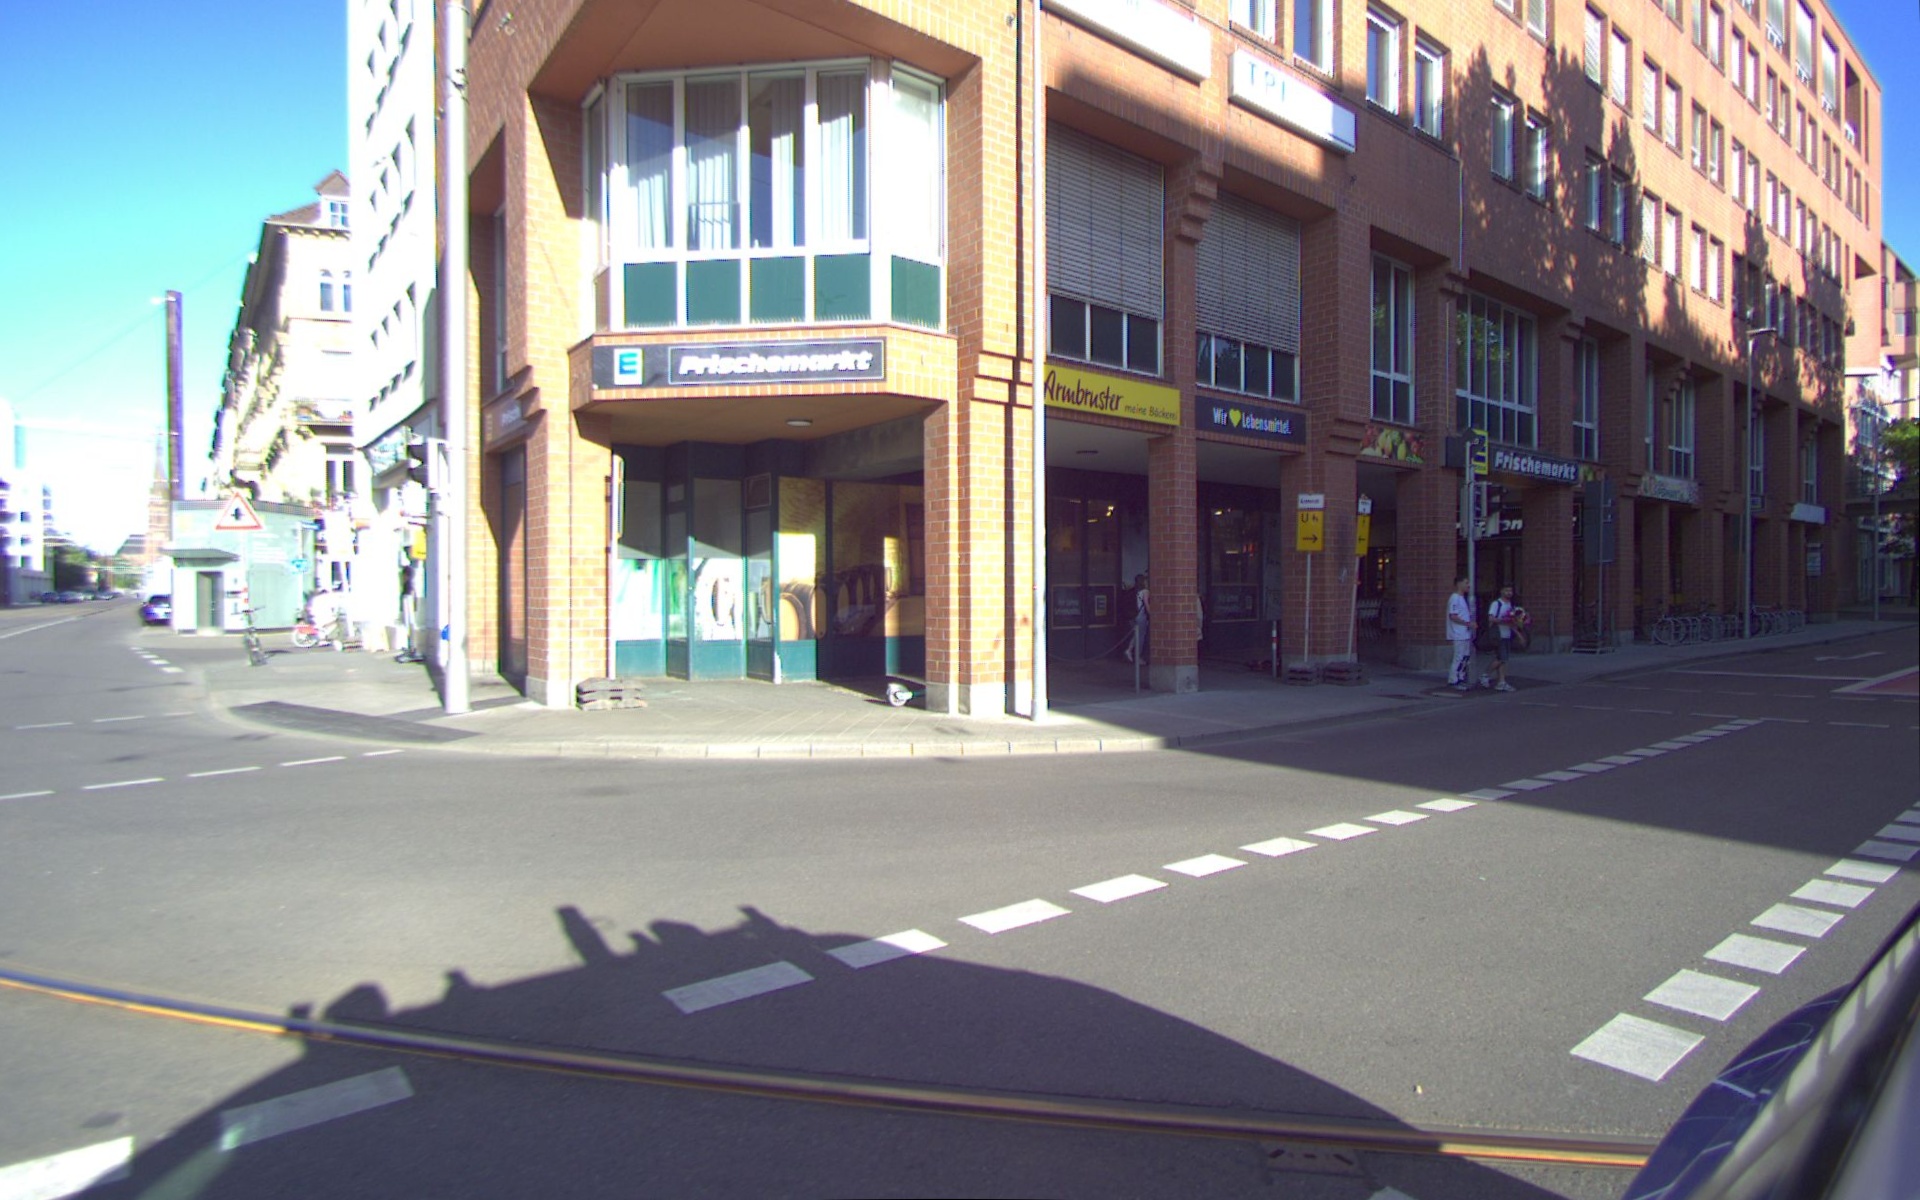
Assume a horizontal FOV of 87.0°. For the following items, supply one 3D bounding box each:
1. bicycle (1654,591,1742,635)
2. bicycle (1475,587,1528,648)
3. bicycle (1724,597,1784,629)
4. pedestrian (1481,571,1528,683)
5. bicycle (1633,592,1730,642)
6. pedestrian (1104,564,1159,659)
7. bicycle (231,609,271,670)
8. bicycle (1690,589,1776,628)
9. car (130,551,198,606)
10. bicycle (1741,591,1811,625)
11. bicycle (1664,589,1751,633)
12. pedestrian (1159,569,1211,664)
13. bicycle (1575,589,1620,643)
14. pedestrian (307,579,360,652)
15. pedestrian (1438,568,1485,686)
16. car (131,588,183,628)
[{"bbox_3d":[20.206,0.327,27.754,0.466,1.133,1.896,-1,2,-38],"label":"bicycle"},{"bbox_3d":[11.744,0.360,21.934,1.679,1.271,0.340,-1,1,-37],"label":"bicycle"},{"bbox_3d":[24.063,0.388,30.679,0.417,0.851,1.338,-1,4,-36],"label":"bicycle"},{"bbox_3d":[8.686,0.418,16.162,0.624,1.746,0.630,0,1,27],"label":"pedestrian"},{"bbox_3d":[17.838,0.400,25.052,0.466,1.133,1.896,-1,2,-38],"label":"bicycle"},{"bbox_3d":[3.129,0.198,18.451,0.783,1.683,0.601,-1,1,-39],"label":"pedestrian"},{"bbox_3d":[-12.889,0.695,18.382,0.451,1.003,1.864,-4,3,-38],"label":"bicycle"},{"bbox_3d":[22.995,0.235,30.146,0.562,1.069,1.940,-1,3,-35],"label":"bicycle"},{"bbox_3d":[-46.850,-1.298,59.506,5.346,3.059,2.245,1,3,43],"label":"car"},{"bbox_3d":[26.125,0.243,32.427,0.544,0.966,1.617,-1,4,-36],"label":"bicycle"},{"bbox_3d":[20.853,0.290,28.264,0.540,1.133,1.896,-1,2,-38],"label":"bicycle"},{"bbox_3d":[3.881,0.273,17.500,0.833,1.609,0.752,-1,1,12],"label":"pedestrian"},{"bbox_3d":[14.939,0.356,23.710,1.647,1.198,0.340,-1,1,-37],"label":"bicycle"},{"bbox_3d":[-14.764,0.350,23.874,0.679,1.657,0.963,-1,2,-7],"label":"pedestrian"},{"bbox_3d":[7.882,0.412,15.900,0.531,1.815,0.477,-1,1,-39],"label":"pedestrian"},{"bbox_3d":[-36.665,0.346,46.276,1.696,1.630,3.927,-3,3,-37],"label":"car"}]
